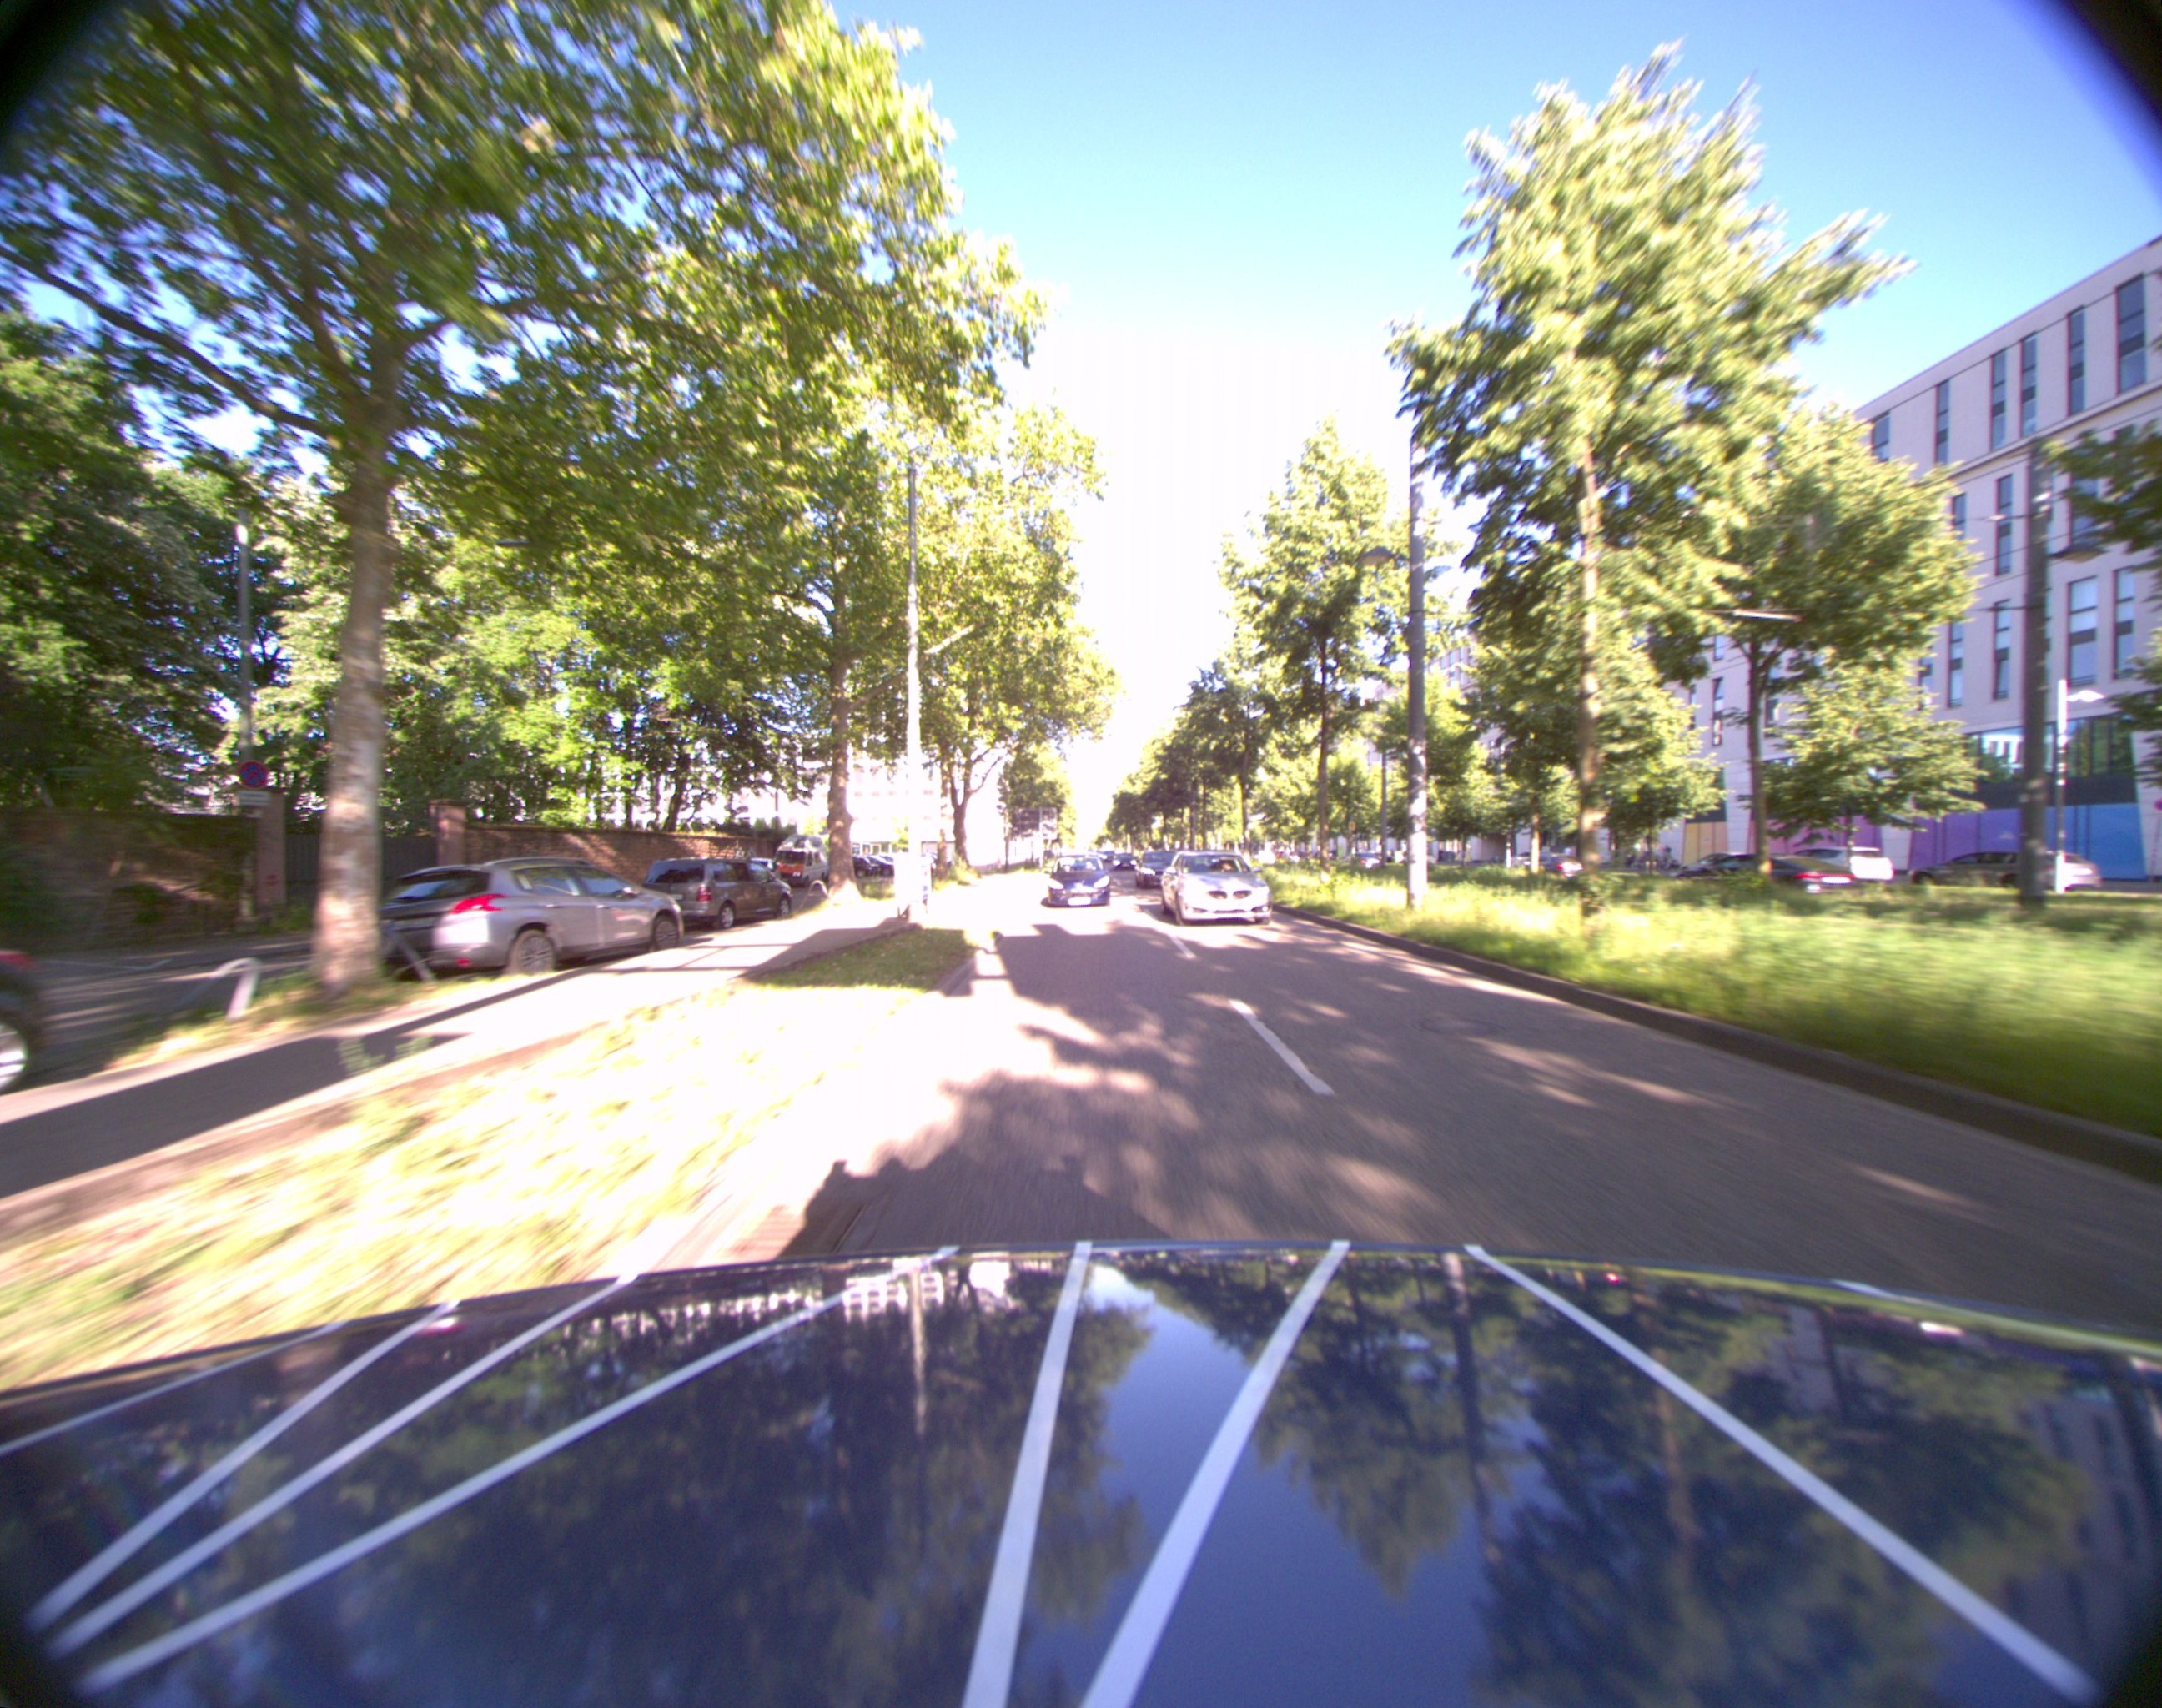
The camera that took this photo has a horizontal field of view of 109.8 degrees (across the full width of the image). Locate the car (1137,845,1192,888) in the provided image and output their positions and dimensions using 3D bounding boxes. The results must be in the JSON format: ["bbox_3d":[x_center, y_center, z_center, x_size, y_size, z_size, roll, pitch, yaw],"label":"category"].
[{"bbox_3d":[3.322,0.460,30.945,1.950,1.514,4.000,-2,1,3],"label":"car"}]

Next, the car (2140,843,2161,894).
[{"bbox_3d":[32.048,0.444,19.789,1.999,1.433,4.935,-2,1,-1],"label":"car"}]

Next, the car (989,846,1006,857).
[{"bbox_3d":[-12.057,-0.350,109.984,1.869,1.477,4.272,2,1,1],"label":"car"}]

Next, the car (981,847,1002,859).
[{"bbox_3d":[-12.337,-0.141,104.937,1.998,1.477,4.402,2,1,3],"label":"car"}]

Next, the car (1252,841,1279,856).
[{"bbox_3d":[21.926,-0.667,90.475,1.998,1.676,5.109,-2,1,1],"label":"car"}]

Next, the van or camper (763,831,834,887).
[{"bbox_3d":[-14.866,0.191,40.295,1.999,2.716,4.962,2,1,-2],"label":"van or camper"}]

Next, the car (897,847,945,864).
[{"bbox_3d":[-14.885,0.157,70.678,4.089,1.460,1.715,1,2,2],"label":"car"}]

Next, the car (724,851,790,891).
[{"bbox_3d":[-14.750,0.742,34.837,1.846,1.608,3.996,3,0,-10],"label":"car"}]

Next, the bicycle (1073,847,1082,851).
[{"bbox_3d":[-0.778,-1.198,172.304,1.927,0.899,0.647,0,1,4],"label":"bicycle"}]

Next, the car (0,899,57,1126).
[{"bbox_3d":[-7.893,1.094,3.178,1.797,1.430,3.884,-2,1,3],"label":"car"}]

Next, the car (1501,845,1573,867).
[{"bbox_3d":[32.371,0.113,54.123,1.999,1.433,4.923,-2,1,-1],"label":"car"}]

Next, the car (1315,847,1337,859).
[{"bbox_3d":[32.203,-0.124,99.877,1.562,1.471,4.270,-1,1,0],"label":"car"}]

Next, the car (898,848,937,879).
[{"bbox_3d":[-9.584,0.521,44.741,2.000,1.631,3.996,-2,1,-10],"label":"car"}]

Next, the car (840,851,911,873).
[{"bbox_3d":[-15.302,0.555,56.768,4.731,1.398,2.000,3,1,1],"label":"car"}]

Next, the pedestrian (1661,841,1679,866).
[{"bbox_3d":[40.529,-0.049,52.278,0.637,1.642,0.720,-2,2,-1],"label":"pedestrian"}]

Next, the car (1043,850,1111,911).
[{"bbox_3d":[-0.031,0.690,22.099,1.766,1.463,3.999,-2,1,2],"label":"car"}]

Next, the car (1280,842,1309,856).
[{"bbox_3d":[25.171,-0.624,89.752,1.998,1.433,5.110,-2,1,2],"label":"car"}]

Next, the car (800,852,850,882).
[{"bbox_3d":[-15.208,0.730,45.314,2.000,1.565,3.997,2,1,-6],"label":"car"}]

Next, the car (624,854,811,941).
[{"bbox_3d":[-8.397,0.915,18.113,1.797,1.625,4.627,-2,1,6],"label":"car"}]

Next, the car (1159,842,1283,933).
[{"bbox_3d":[2.790,0.587,16.106,1.886,1.569,4.277,-2,1,1],"label":"car"}]

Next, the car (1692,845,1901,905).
[{"bbox_3d":[20.261,0.518,21.849,1.998,1.433,4.456,-2,1,3],"label":"car"}]

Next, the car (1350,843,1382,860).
[{"bbox_3d":[32.807,-0.317,87.644,1.999,1.719,4.337,-2,1,-1],"label":"car"}]

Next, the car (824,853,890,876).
[{"bbox_3d":[-15.309,0.694,52.181,3.998,1.496,1.765,-1,1,-2],"label":"car"}]

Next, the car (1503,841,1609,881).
[{"bbox_3d":[23.091,0.289,37.219,1.998,1.830,5.250,-1,1,1],"label":"car"}]

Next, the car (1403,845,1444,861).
[{"bbox_3d":[32.419,-0.127,72.096,1.999,1.433,4.018,-2,1,-1],"label":"car"}]

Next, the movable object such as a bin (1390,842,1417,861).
[{"bbox_3d":[32.151,-0.241,75.782,1.975,1.784,1.555,-2,2,-1],"label":"movable object such as a bin"}]

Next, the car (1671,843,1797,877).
[{"bbox_3d":[31.885,0.242,37.298,1.999,1.433,4.777,-2,1,-1],"label":"car"}]

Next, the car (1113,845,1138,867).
[{"bbox_3d":[3.480,0.135,60.519,1.782,1.571,3.783,-2,1,1],"label":"car"}]

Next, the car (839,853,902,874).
[{"bbox_3d":[-15.048,0.686,54.450,3.996,1.384,1.620,1,1,4],"label":"car"}]

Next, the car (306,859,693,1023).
[{"bbox_3d":[-7.292,0.957,10.181,1.797,1.551,4.020,-4,1,4],"label":"car"}]

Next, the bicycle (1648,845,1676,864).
[{"bbox_3d":[39.340,0.017,51.480,0.599,1.273,1.608,-2,1,-1],"label":"bicycle"}]

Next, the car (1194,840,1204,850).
[{"bbox_3d":[27.511,-2.110,177.250,1.998,2.002,4.000,-2,1,4],"label":"car"}]

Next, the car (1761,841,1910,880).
[{"bbox_3d":[31.944,0.228,32.388,1.998,1.433,4.455,-2,1,1],"label":"car"}]

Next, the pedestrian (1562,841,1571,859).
[{"bbox_3d":[41.023,-0.326,64.169,0.501,1.540,0.523,-1,2,43],"label":"pedestrian"}]

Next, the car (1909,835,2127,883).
[{"bbox_3d":[31.965,0.122,26.178,1.999,1.433,4.454,-2,1,-1],"label":"car"}]

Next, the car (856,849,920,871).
[{"bbox_3d":[-15.154,0.444,59.659,4.390,1.403,2.000,3,1,3],"label":"car"}]

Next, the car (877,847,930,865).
[{"bbox_3d":[-15.359,0.144,65.761,4.202,1.490,1.781,0,1,-2],"label":"car"}]
